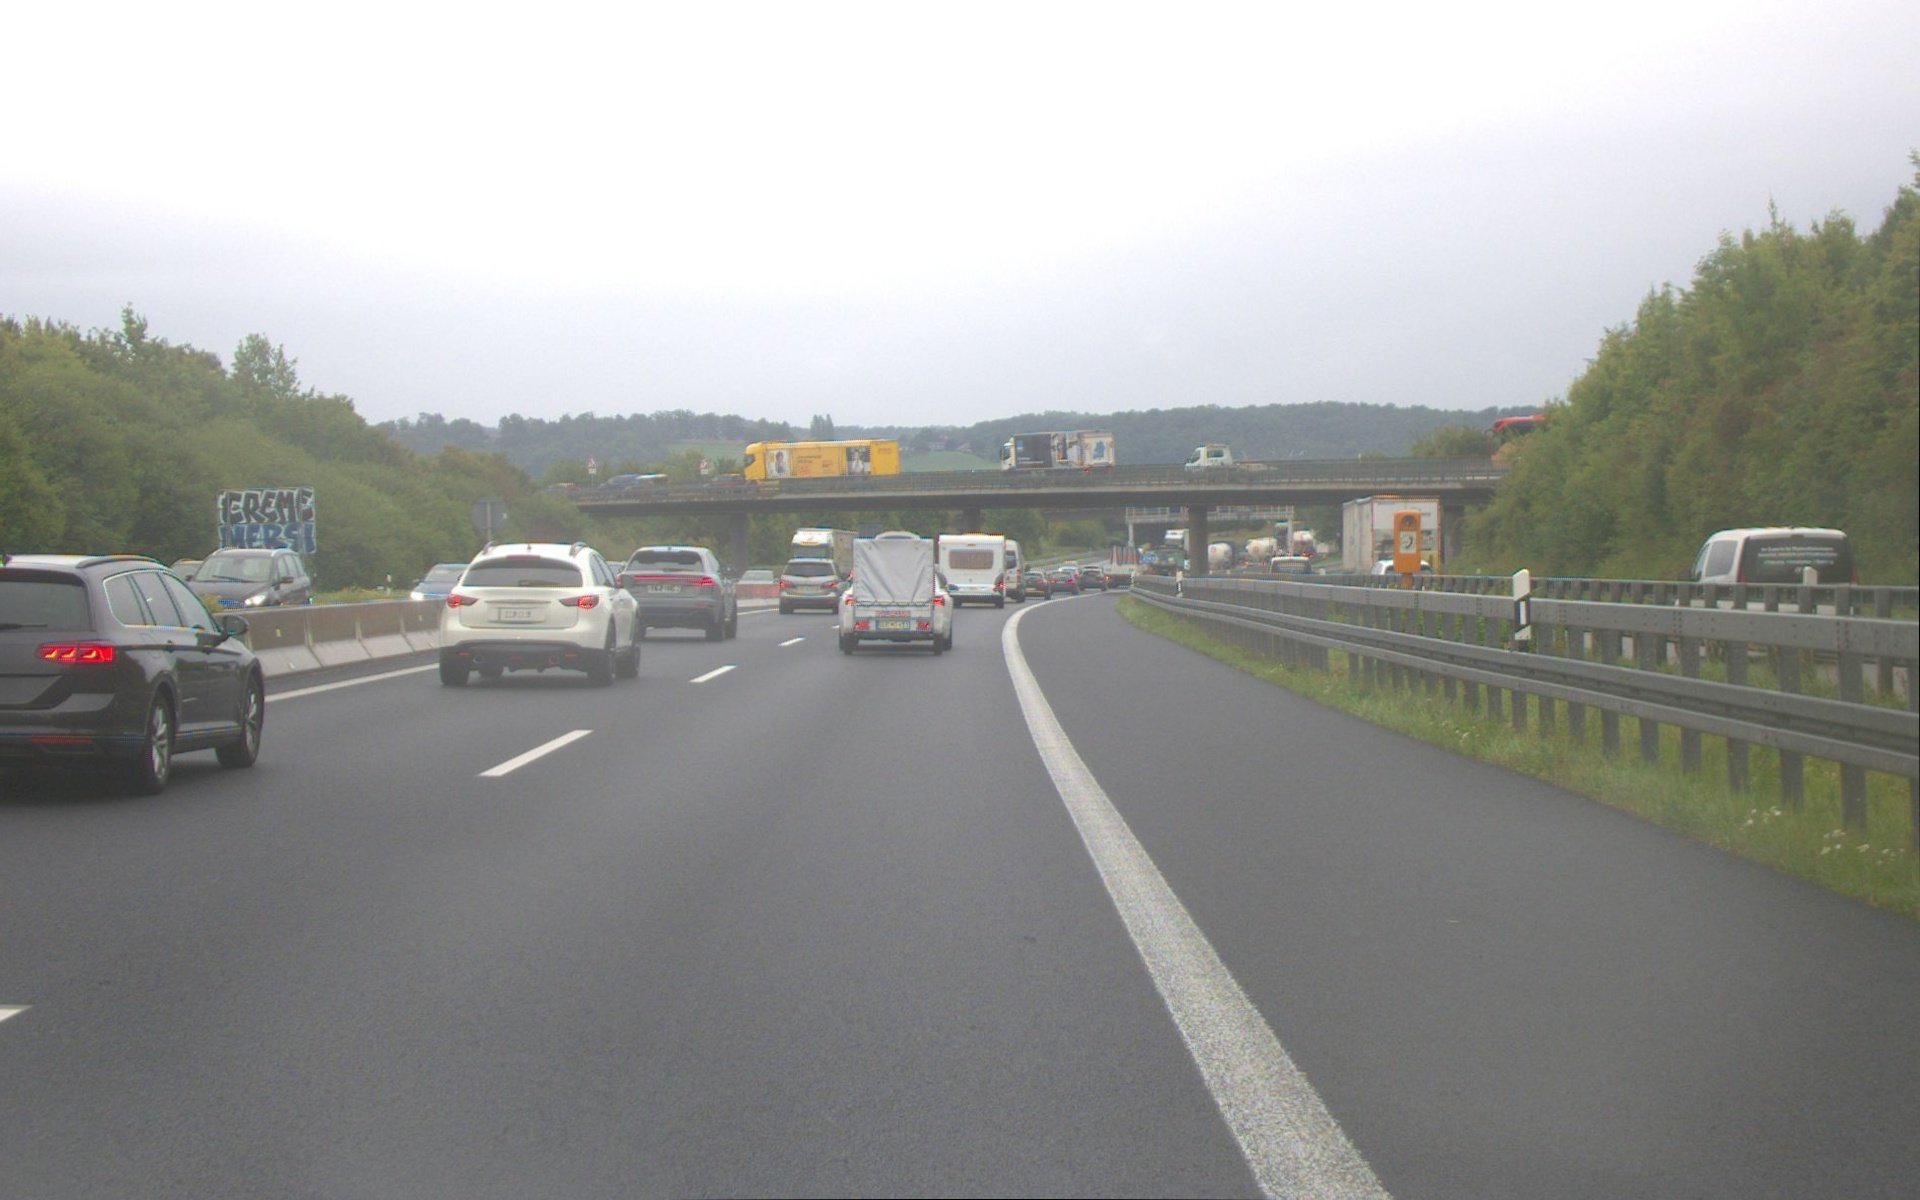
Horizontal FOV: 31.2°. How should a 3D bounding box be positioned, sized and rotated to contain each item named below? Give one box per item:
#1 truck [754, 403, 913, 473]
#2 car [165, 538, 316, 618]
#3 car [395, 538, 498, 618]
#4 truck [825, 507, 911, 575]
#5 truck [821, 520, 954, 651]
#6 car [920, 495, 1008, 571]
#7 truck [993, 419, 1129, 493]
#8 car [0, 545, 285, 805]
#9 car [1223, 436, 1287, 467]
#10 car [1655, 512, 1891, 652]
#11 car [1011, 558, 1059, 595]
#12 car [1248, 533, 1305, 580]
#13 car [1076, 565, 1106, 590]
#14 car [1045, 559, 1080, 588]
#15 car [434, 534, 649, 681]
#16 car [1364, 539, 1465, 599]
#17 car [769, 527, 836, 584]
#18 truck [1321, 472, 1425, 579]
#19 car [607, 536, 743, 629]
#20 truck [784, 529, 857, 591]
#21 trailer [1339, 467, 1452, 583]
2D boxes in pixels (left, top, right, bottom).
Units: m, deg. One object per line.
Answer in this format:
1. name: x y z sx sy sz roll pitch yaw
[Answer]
1. truck: -9.635 -12.135 259.521 3.767 4.819 15.241 -1 1 -38
2. car: -13.970 -0.457 66.989 1.982 1.501 4.638 0 1 0
3. car: -12.579 -0.555 84.378 1.993 1.895 4.173 1 1 -2
4. truck: -4.891 -3.175 185.801 3.766 3.542 13.186 0 1 2
5. truck: -1.135 -0.300 55.848 2.019 1.979 7.213 0 1 -1
6. car: 0.165 -2.385 121.957 3.017 2.607 6.075 0 1 1
7. truck: 6.915 -9.898 237.094 3.767 4.819 10.041 -1 1 -38
8. car: -5.747 0.412 22.174 1.900 1.492 4.852 0 0 -1
9. car: 19.024 -9.560 222.070 1.838 1.908 3.999 0 1 -39
10. car: 10.976 -0.266 46.733 2.007 1.808 4.277 0 1 -3
11. car: 3.679 -1.157 168.275 1.993 1.744 4.001 1 1 -4
12. car: 12.247 -1.697 133.081 1.860 1.799 4.648 0 1 1
13. car: 9.234 -1.616 242.824 1.993 1.744 4.000 1 1 1
14. car: 6.284 -1.623 211.084 1.993 1.744 4.000 1 1 0
15. car: -4.845 0.044 40.393 1.976 1.633 4.501 0 1 0
16. car: 11.996 -0.849 90.986 2.008 1.543 4.696 0 1 0
17. car: -4.529 -1.309 99.154 1.900 1.607 4.017 0 1 -2
18. truck: 17.127 -3.106 143.309 3.437 4.274 10.418 0 1 2
19. car: -5.161 -0.345 62.830 2.174 1.626 4.501 0 1 -1
20. truck: -9.096 -2.674 225.917 3.766 3.978 13.186 0 1 2
21. trailer: 16.739 -2.892 132.872 3.437 4.274 10.454 0 1 2
